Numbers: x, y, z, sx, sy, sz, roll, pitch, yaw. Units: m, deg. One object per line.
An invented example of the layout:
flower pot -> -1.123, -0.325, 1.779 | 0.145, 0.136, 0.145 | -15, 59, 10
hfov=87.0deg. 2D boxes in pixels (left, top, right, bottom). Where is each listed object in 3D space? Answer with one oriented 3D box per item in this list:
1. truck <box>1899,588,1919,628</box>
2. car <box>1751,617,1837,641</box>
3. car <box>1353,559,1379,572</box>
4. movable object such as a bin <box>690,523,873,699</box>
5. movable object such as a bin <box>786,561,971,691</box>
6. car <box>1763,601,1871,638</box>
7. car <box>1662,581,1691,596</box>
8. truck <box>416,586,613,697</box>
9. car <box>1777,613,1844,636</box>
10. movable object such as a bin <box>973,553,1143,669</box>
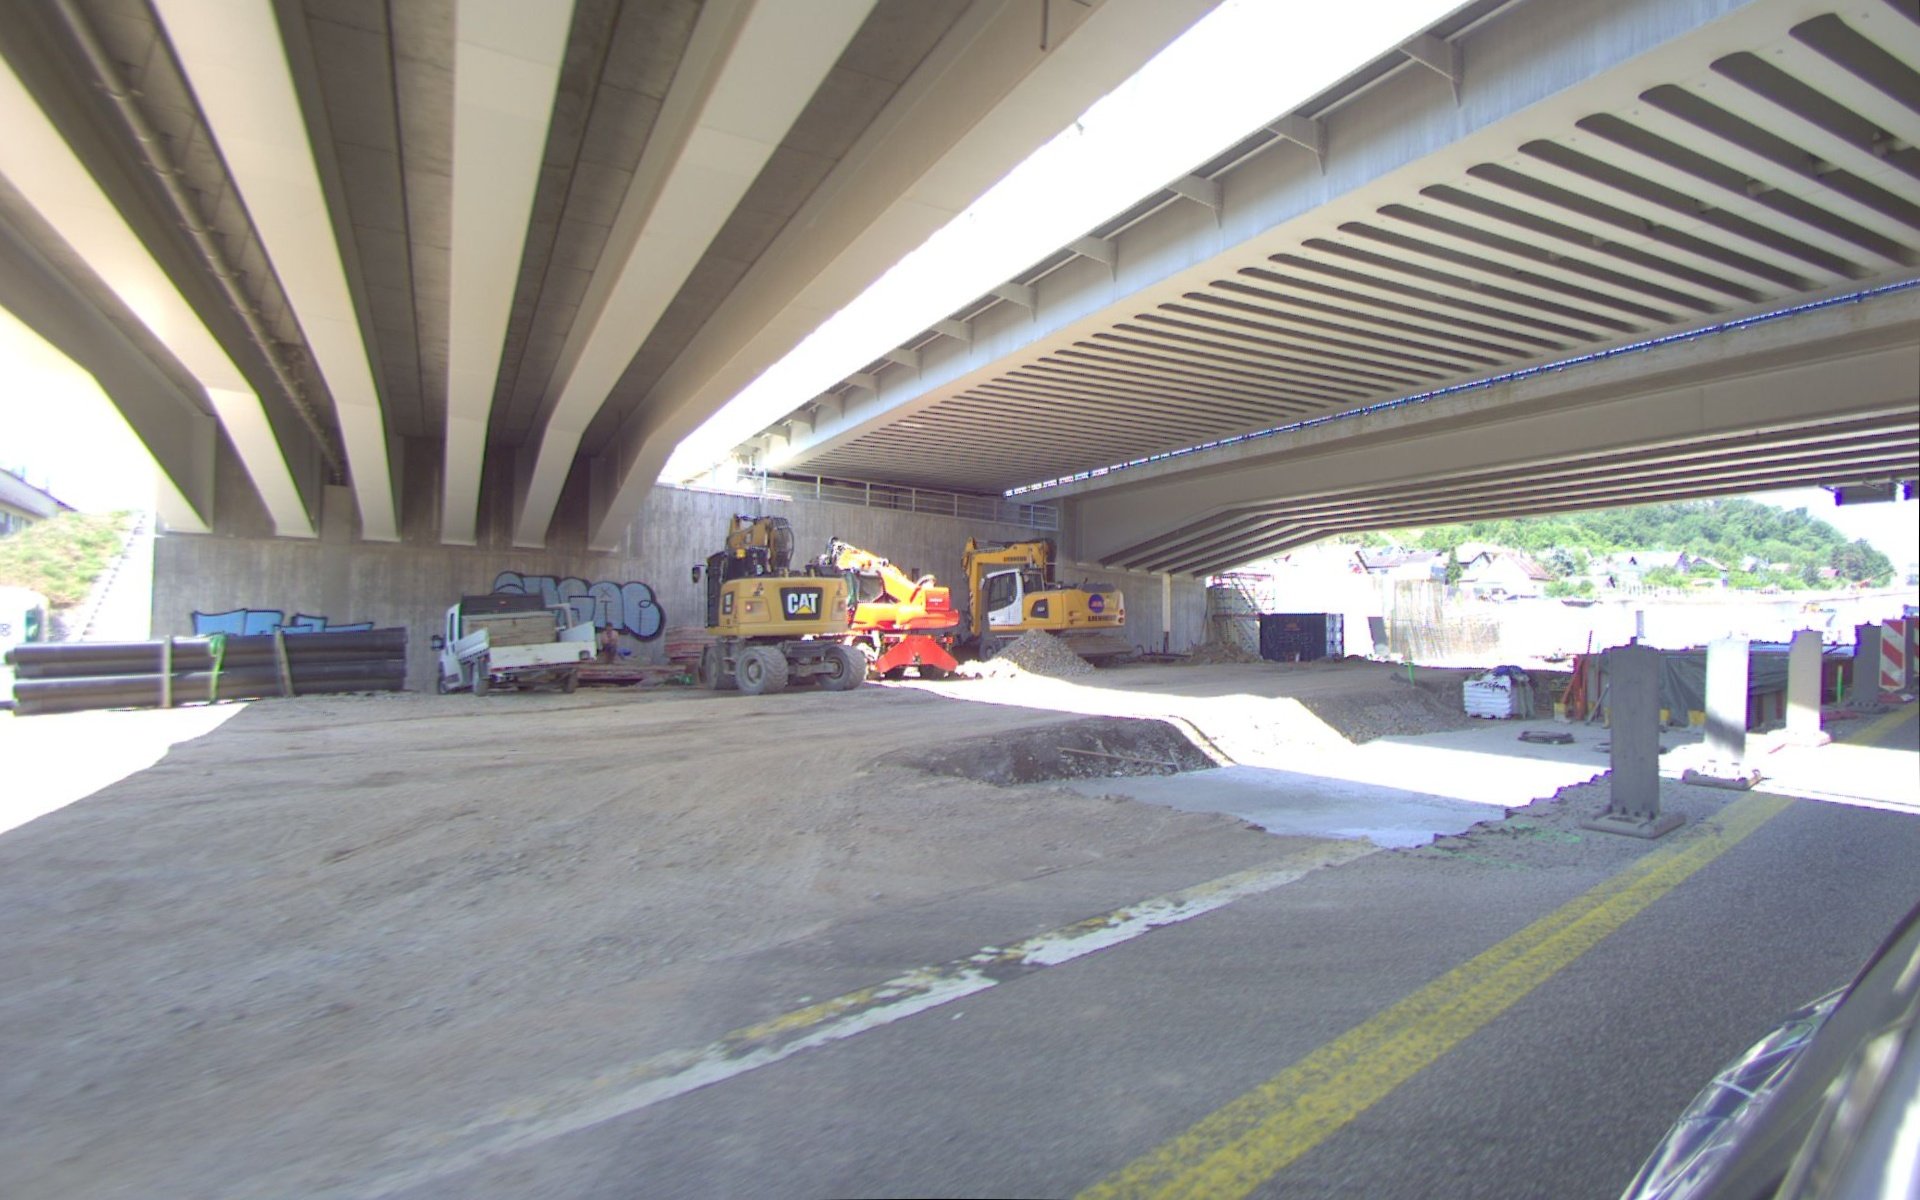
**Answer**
truck -> 88.011, 0.683, 92.561 | 5.342, 3.447, 2.503 | -2, 1, -41
car -> 63.321, 2.223, 76.927 | 1.689, 1.792, 4.797 | 0, -2, -40
car -> 49.725, -4.273, 123.928 | 3.544, 1.504, 1.544 | -2, 1, -41
movable object such as a bin -> -4.145, 0.213, 22.961 | 2.845, 3.587, 3.897 | -2, -1, -29
movable object such as a bin -> -2.301, 0.662, 27.027 | 2.450, 3.095, 5.253 | -2, -1, -36
car -> 68.508, 1.602, 81.088 | 6.267, 2.615, 2.028 | -4, -3, 37
car -> 82.064, -1.287, 115.894 | 4.528, 1.623, 1.656 | -2, 1, -42
truck -> -10.112, 0.855, 22.565 | 2.616, 2.100, 6.537 | 0, -1, -37
car -> 66.020, 1.920, 78.577 | 3.860, 1.707, 1.666 | -3, -1, 45
movable object such as a bin -> 2.987, 0.340, 31.824 | 2.935, 3.328, 4.565 | -2, -1, -36
